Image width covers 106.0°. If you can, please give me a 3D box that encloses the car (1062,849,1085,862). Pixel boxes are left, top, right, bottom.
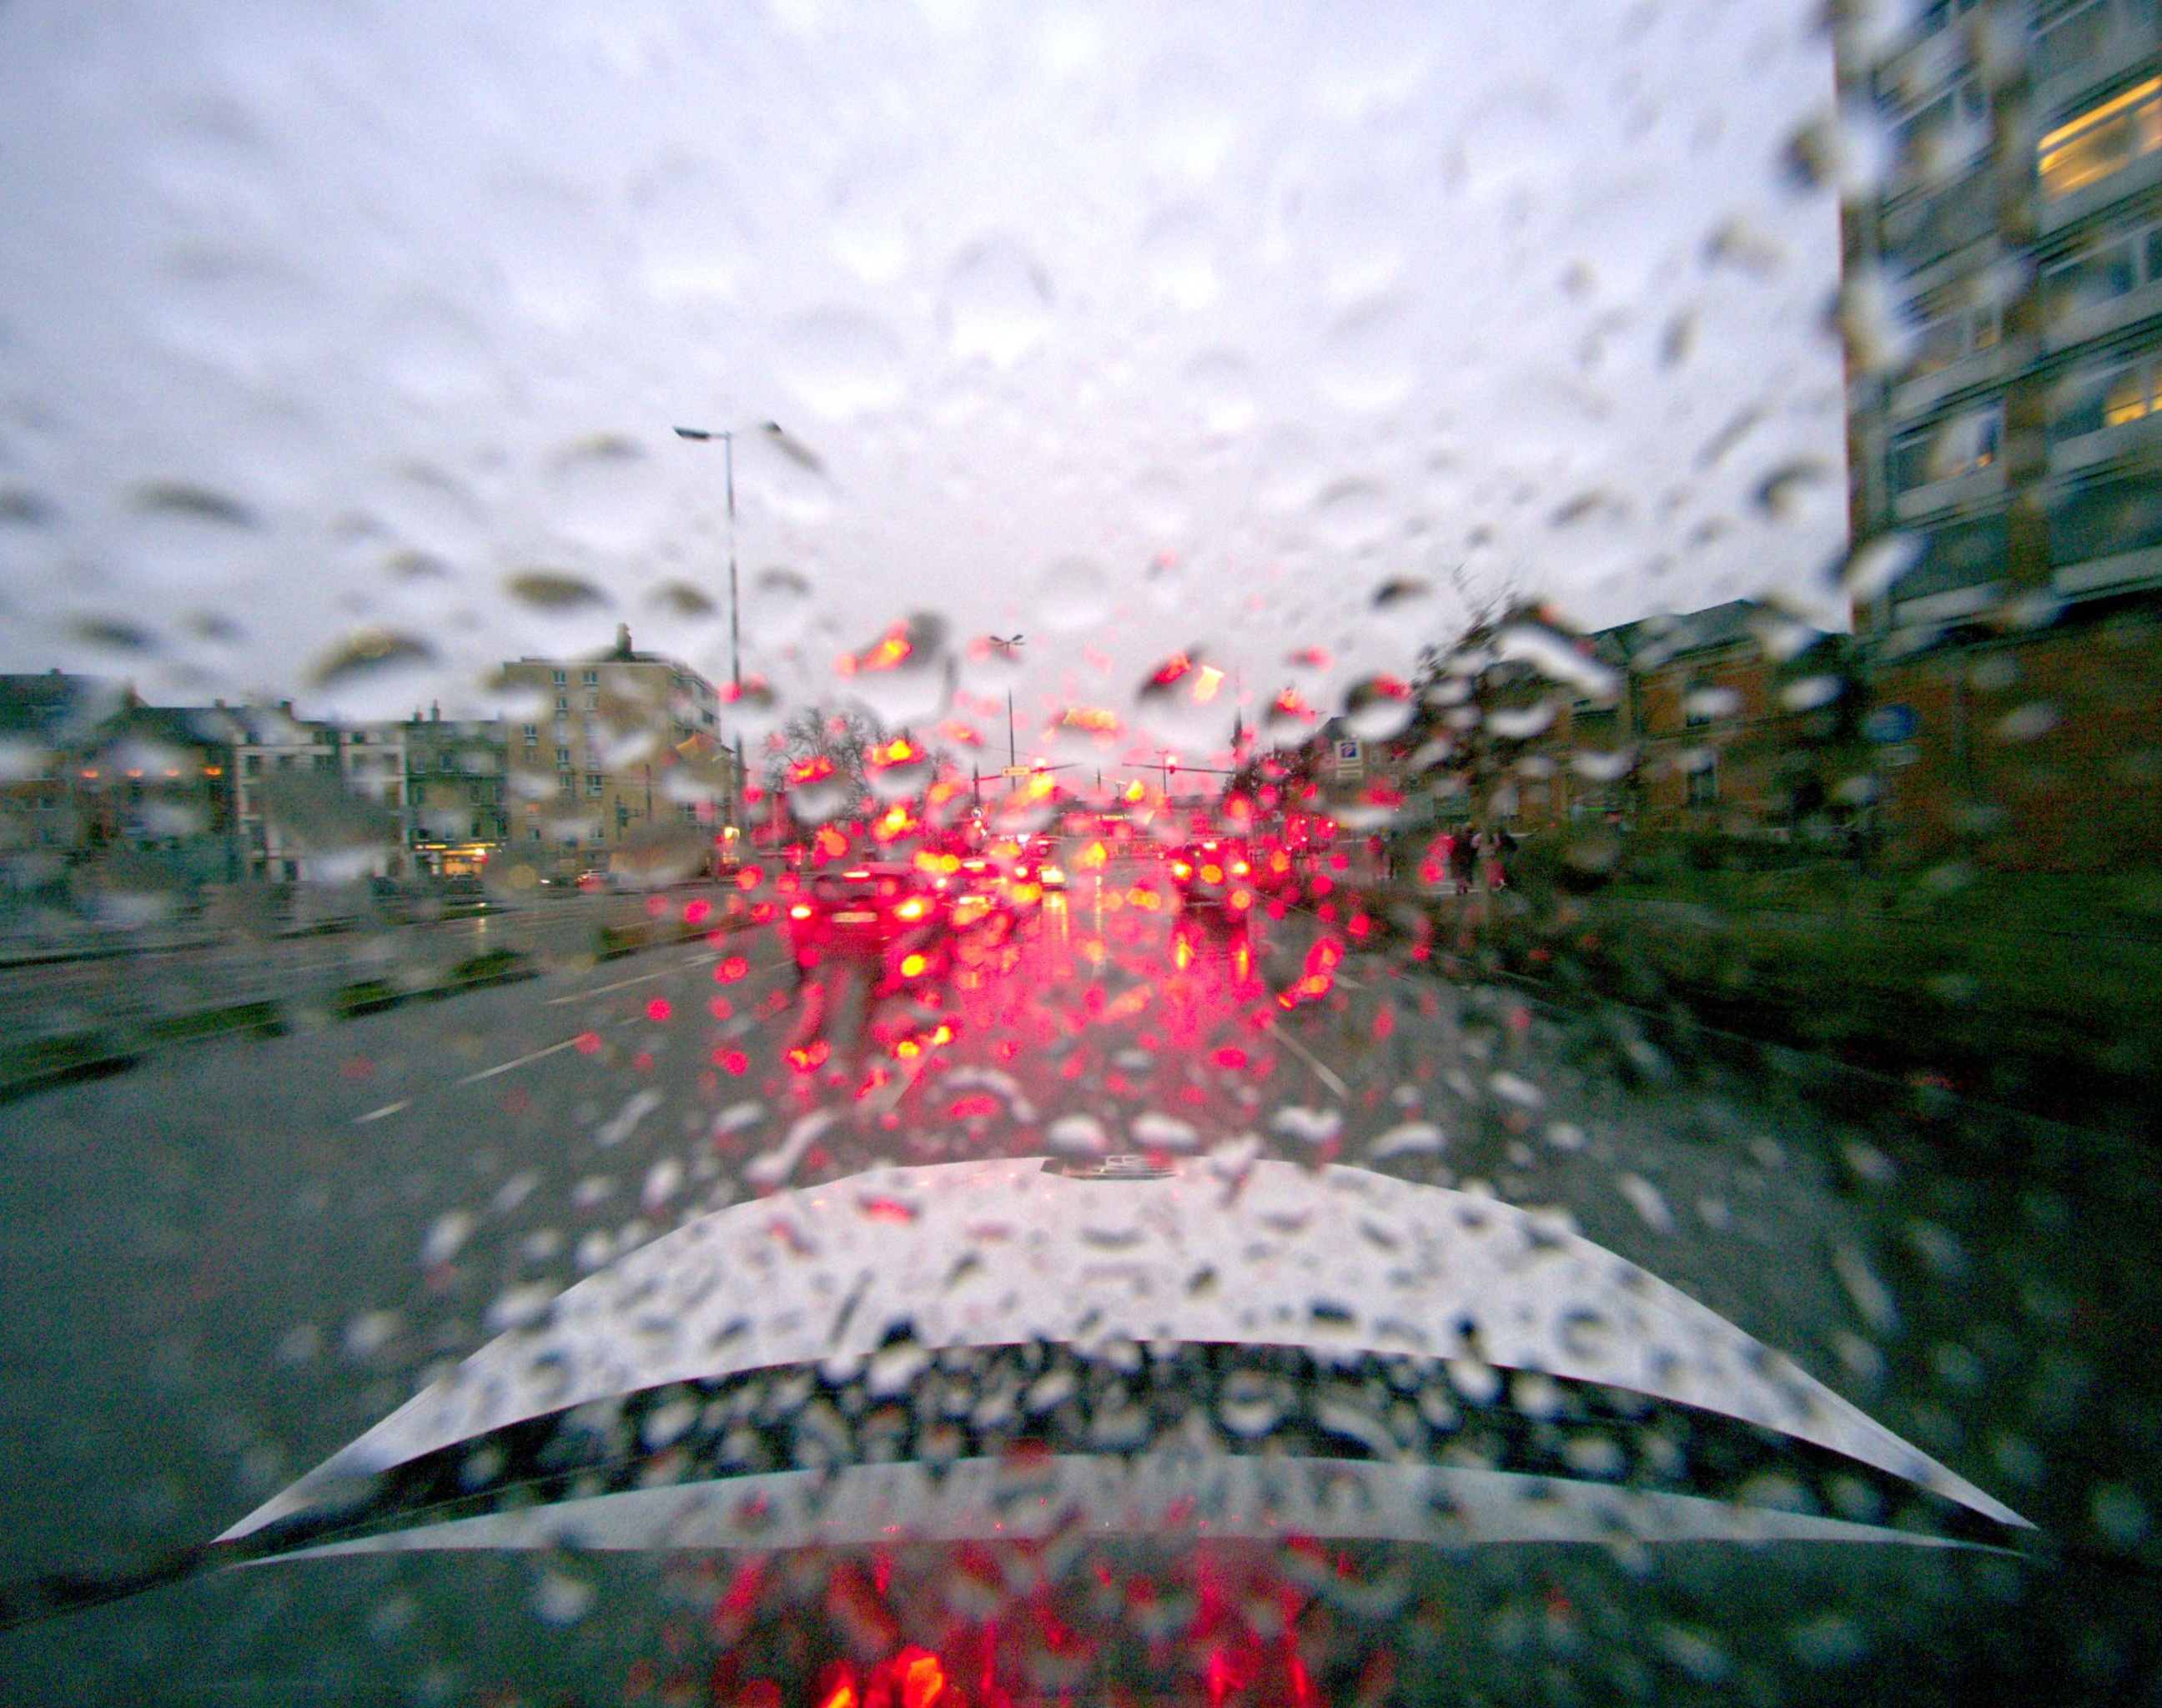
[{"bbox_3d":[-0.881,0.153,98.617,1.800,1.446,4.016,-3,0,14],"label":"car"}]

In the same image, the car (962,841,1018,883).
[{"bbox_3d":[-4.131,0.343,37.684,1.877,1.772,4.004,-2,0,3],"label":"car"}]

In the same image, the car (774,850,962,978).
[{"bbox_3d":[-2.761,0.690,11.426,1.696,1.481,3.869,1,0,-2],"label":"car"}]

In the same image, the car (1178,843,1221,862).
[{"bbox_3d":[11.168,-0.145,76.710,1.975,1.514,4.024,-3,0,44],"label":"car"}]

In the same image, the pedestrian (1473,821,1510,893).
[{"bbox_3d":[10.016,0.069,19.866,0.661,1.687,0.616,-4,1,30],"label":"pedestrian"}]

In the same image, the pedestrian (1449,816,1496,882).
[{"bbox_3d":[11.069,-0.135,23.046,0.852,1.791,0.746,-2,0,-13],"label":"pedestrian"}]

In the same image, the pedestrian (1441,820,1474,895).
[{"bbox_3d":[9.378,0.084,20.270,0.578,1.781,0.774,-4,-1,30],"label":"pedestrian"}]

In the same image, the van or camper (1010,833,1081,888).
[{"bbox_3d":[-1.383,0.252,33.980,2.190,2.109,4.996,-1,0,6],"label":"van or camper"}]

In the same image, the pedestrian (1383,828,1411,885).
[{"bbox_3d":[11.298,0.079,29.137,0.799,2.013,0.765,-1,3,29],"label":"pedestrian"}]

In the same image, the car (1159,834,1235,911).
[{"bbox_3d":[3.038,0.421,21.613,1.768,1.800,4.434,-1,1,7],"label":"car"}]

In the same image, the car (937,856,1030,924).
[{"bbox_3d":[-2.166,0.763,19.114,1.653,1.404,4.120,0,0,0],"label":"car"}]

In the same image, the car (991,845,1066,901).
[{"bbox_3d":[-1.527,0.529,25.455,1.778,1.600,4.545,0,0,3],"label":"car"}]

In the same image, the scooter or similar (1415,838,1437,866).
[{"bbox_3d":[15.831,-0.087,37.357,0.507,1.213,1.392,-3,0,40],"label":"scooter or similar"}]

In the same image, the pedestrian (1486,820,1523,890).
[{"bbox_3d":[10.507,0.018,20.186,0.711,1.687,0.765,-3,0,29],"label":"pedestrian"}]

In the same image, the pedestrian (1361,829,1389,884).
[{"bbox_3d":[10.588,0.079,29.294,0.799,1.929,0.765,-1,3,29],"label":"pedestrian"}]

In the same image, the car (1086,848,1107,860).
[{"bbox_3d":[2.057,0.016,105.077,1.800,1.446,4.016,-3,0,14],"label":"car"}]

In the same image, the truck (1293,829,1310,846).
[{"bbox_3d":[37.660,-2.783,139.114,1.976,2.691,5.143,-3,0,23],"label":"truck"}]
